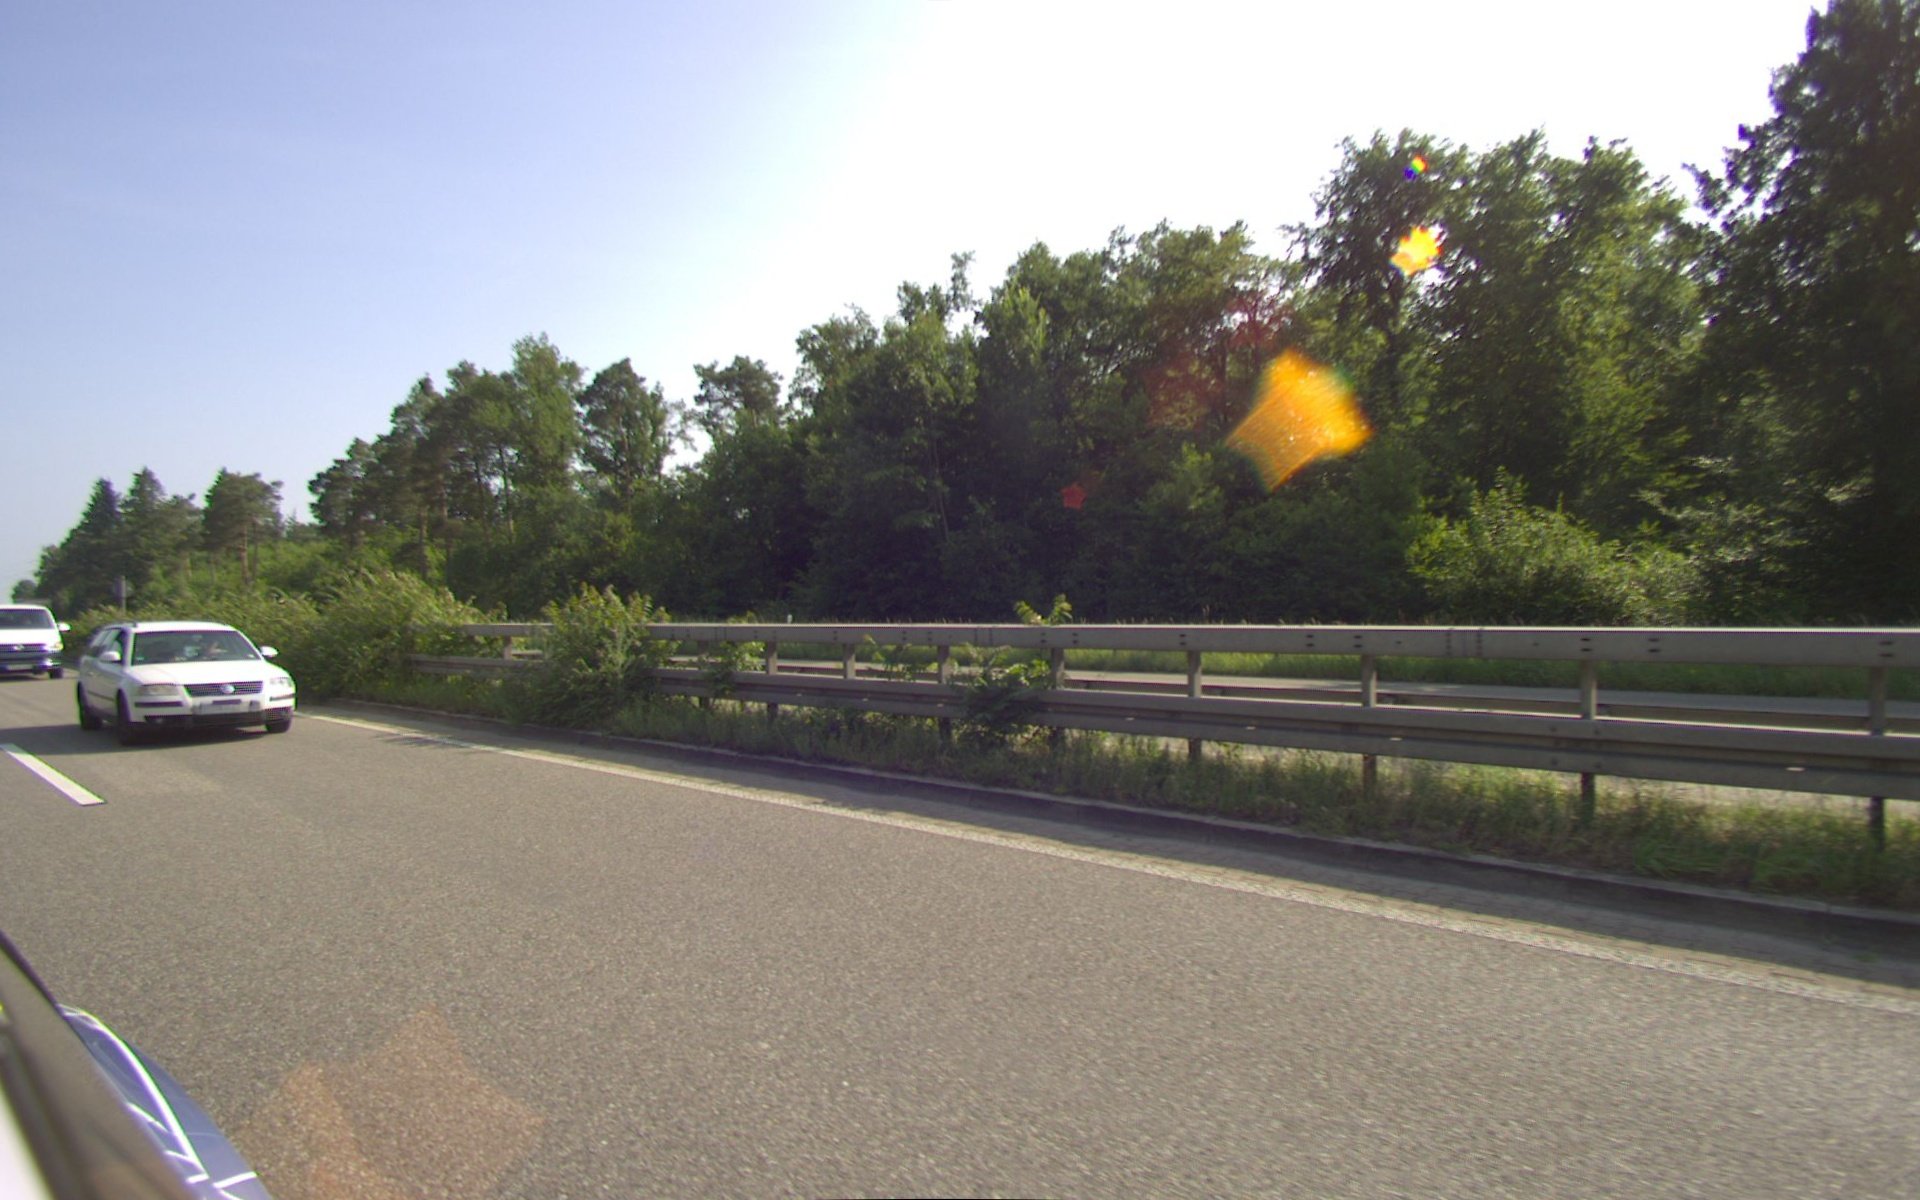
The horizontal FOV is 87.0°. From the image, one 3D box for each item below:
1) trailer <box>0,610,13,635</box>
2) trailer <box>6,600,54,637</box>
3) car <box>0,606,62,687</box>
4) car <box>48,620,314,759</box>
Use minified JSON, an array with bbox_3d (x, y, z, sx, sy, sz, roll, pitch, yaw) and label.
[{"bbox_3d":[-158.449,3.748,166.308,8.370,4.070,3.261,-1,0,41],"label":"trailer"},{"bbox_3d":[-110.270,2.206,119.908,12.406,4.241,2.803,-1,-2,41],"label":"trailer"},{"bbox_3d":[-25.036,1.188,26.362,4.704,1.960,1.887,-1,-1,41],"label":"car"},{"bbox_3d":[-10.536,1.047,13.512,5.259,1.497,1.732,-1,-1,40],"label":"car"}]
